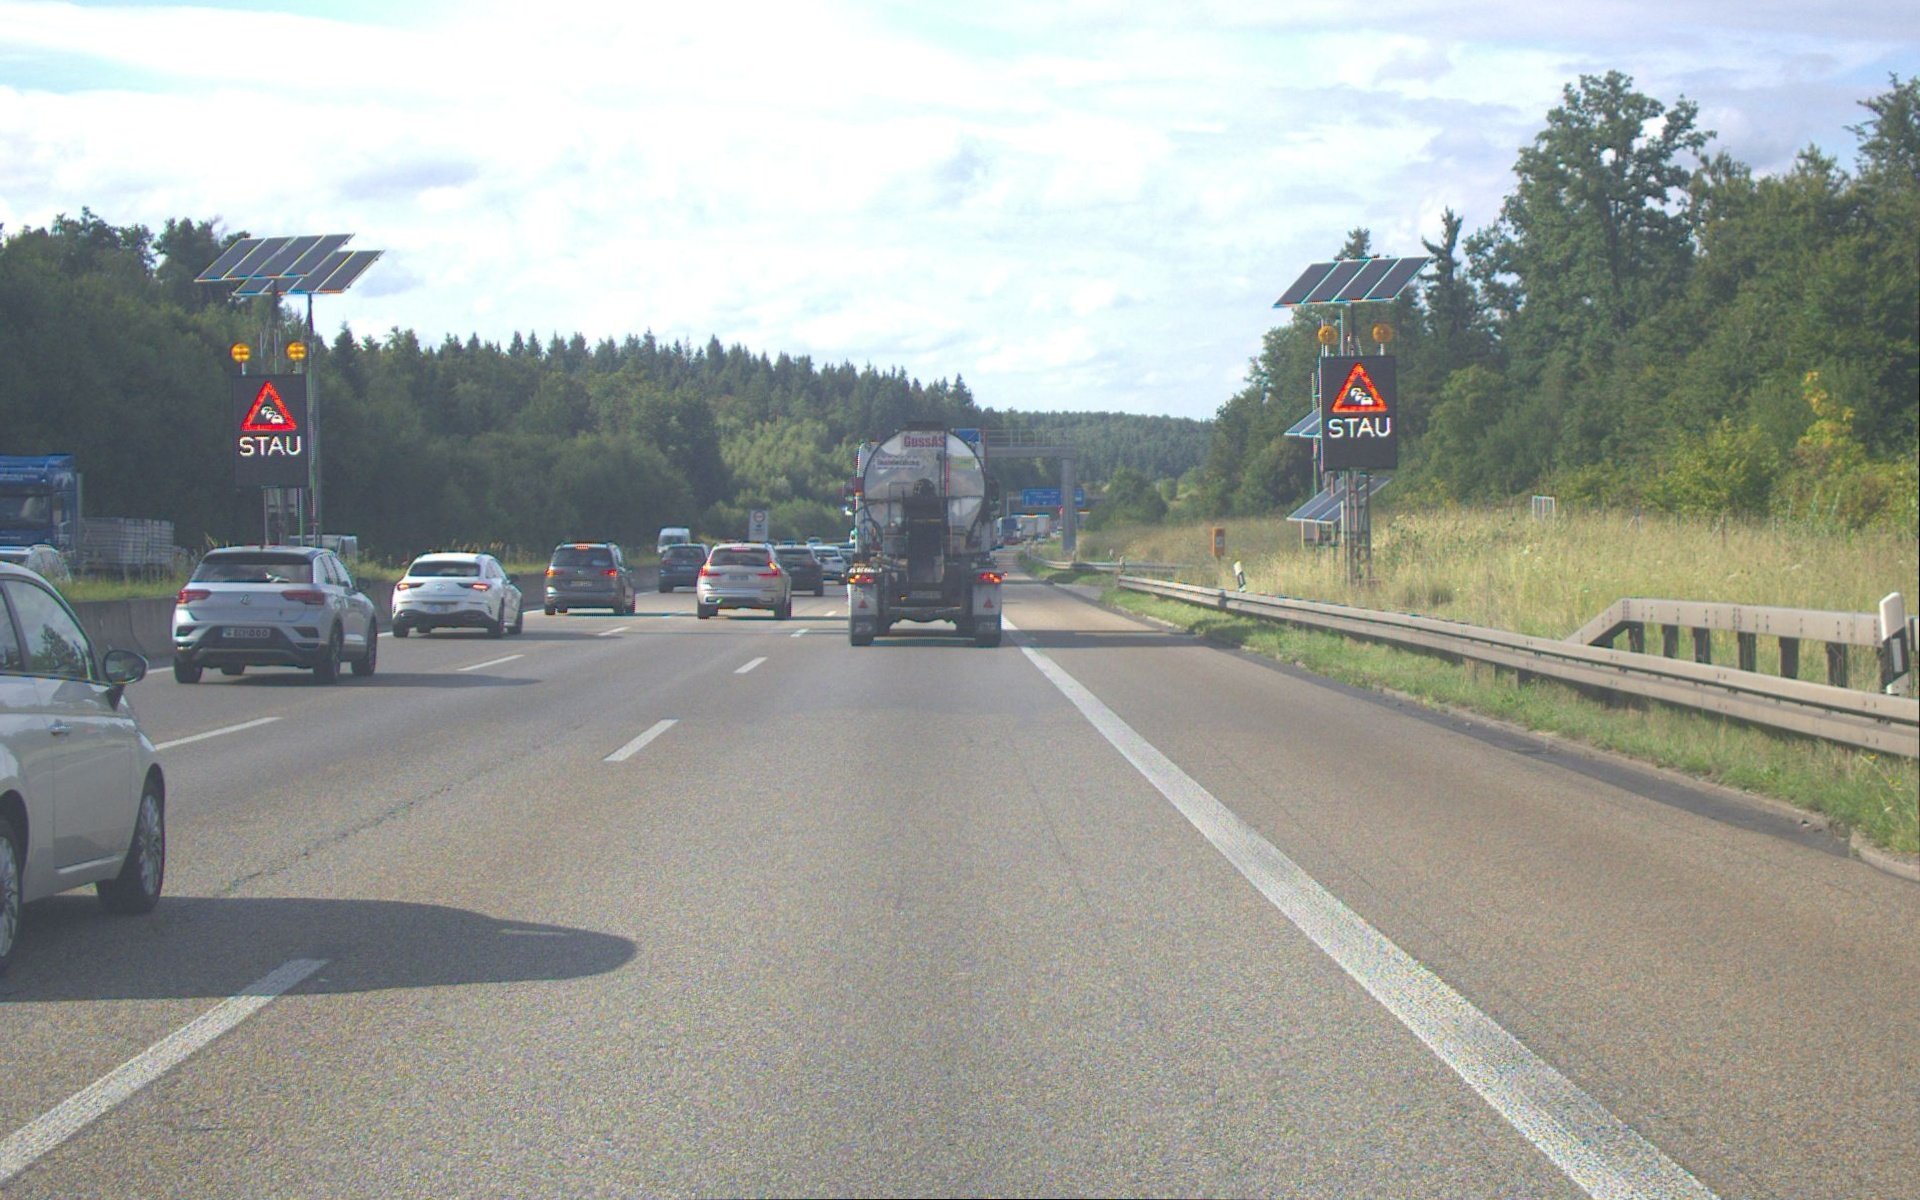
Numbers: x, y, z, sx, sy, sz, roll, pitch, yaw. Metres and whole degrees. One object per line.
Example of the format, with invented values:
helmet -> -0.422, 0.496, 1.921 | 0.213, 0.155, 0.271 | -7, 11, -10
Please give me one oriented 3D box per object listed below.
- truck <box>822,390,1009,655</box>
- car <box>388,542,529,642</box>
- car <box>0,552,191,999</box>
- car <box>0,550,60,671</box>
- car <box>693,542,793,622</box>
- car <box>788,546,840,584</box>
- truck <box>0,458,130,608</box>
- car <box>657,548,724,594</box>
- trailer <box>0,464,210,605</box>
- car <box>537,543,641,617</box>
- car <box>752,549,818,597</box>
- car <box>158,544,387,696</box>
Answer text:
truck -> -0.692, -1.295, 59.498 | 2.912, 4.143, 11.270 | 0, 1, 0
car -> -8.523, -0.170, 58.712 | 1.806, 1.580, 4.207 | 1, 1, -1
car -> -4.113, 0.580, 13.051 | 1.618, 1.539, 3.520 | 1, 1, -1
car -> -16.461, 0.125, 56.205 | 2.096, 1.918, 5.284 | 3, 1, -1
car -> -4.711, -0.419, 74.978 | 1.942, 1.649, 4.207 | 1, 1, -1
car -> -5.942, -1.433, 140.227 | 1.942, 1.452, 4.207 | 1, 1, -1
truck -> -24.475, -1.763, 91.464 | 3.114, 3.824, 7.123 | 0, 1, -1
car -> -9.049, -0.980, 115.759 | 1.942, 1.452, 4.207 | 1, 1, -1
trailer -> -24.544, -1.855, 99.422 | 3.124, 3.824, 12.210 | 0, 1, -1
car -> -8.419, -0.470, 78.301 | 1.942, 1.580, 4.207 | 1, 1, -1
car -> -5.570, -0.874, 109.937 | 1.942, 1.452, 4.207 | 1, 1, -1
car -> -7.782, 0.179, 39.255 | 1.806, 1.580, 4.207 | 1, 1, -1
